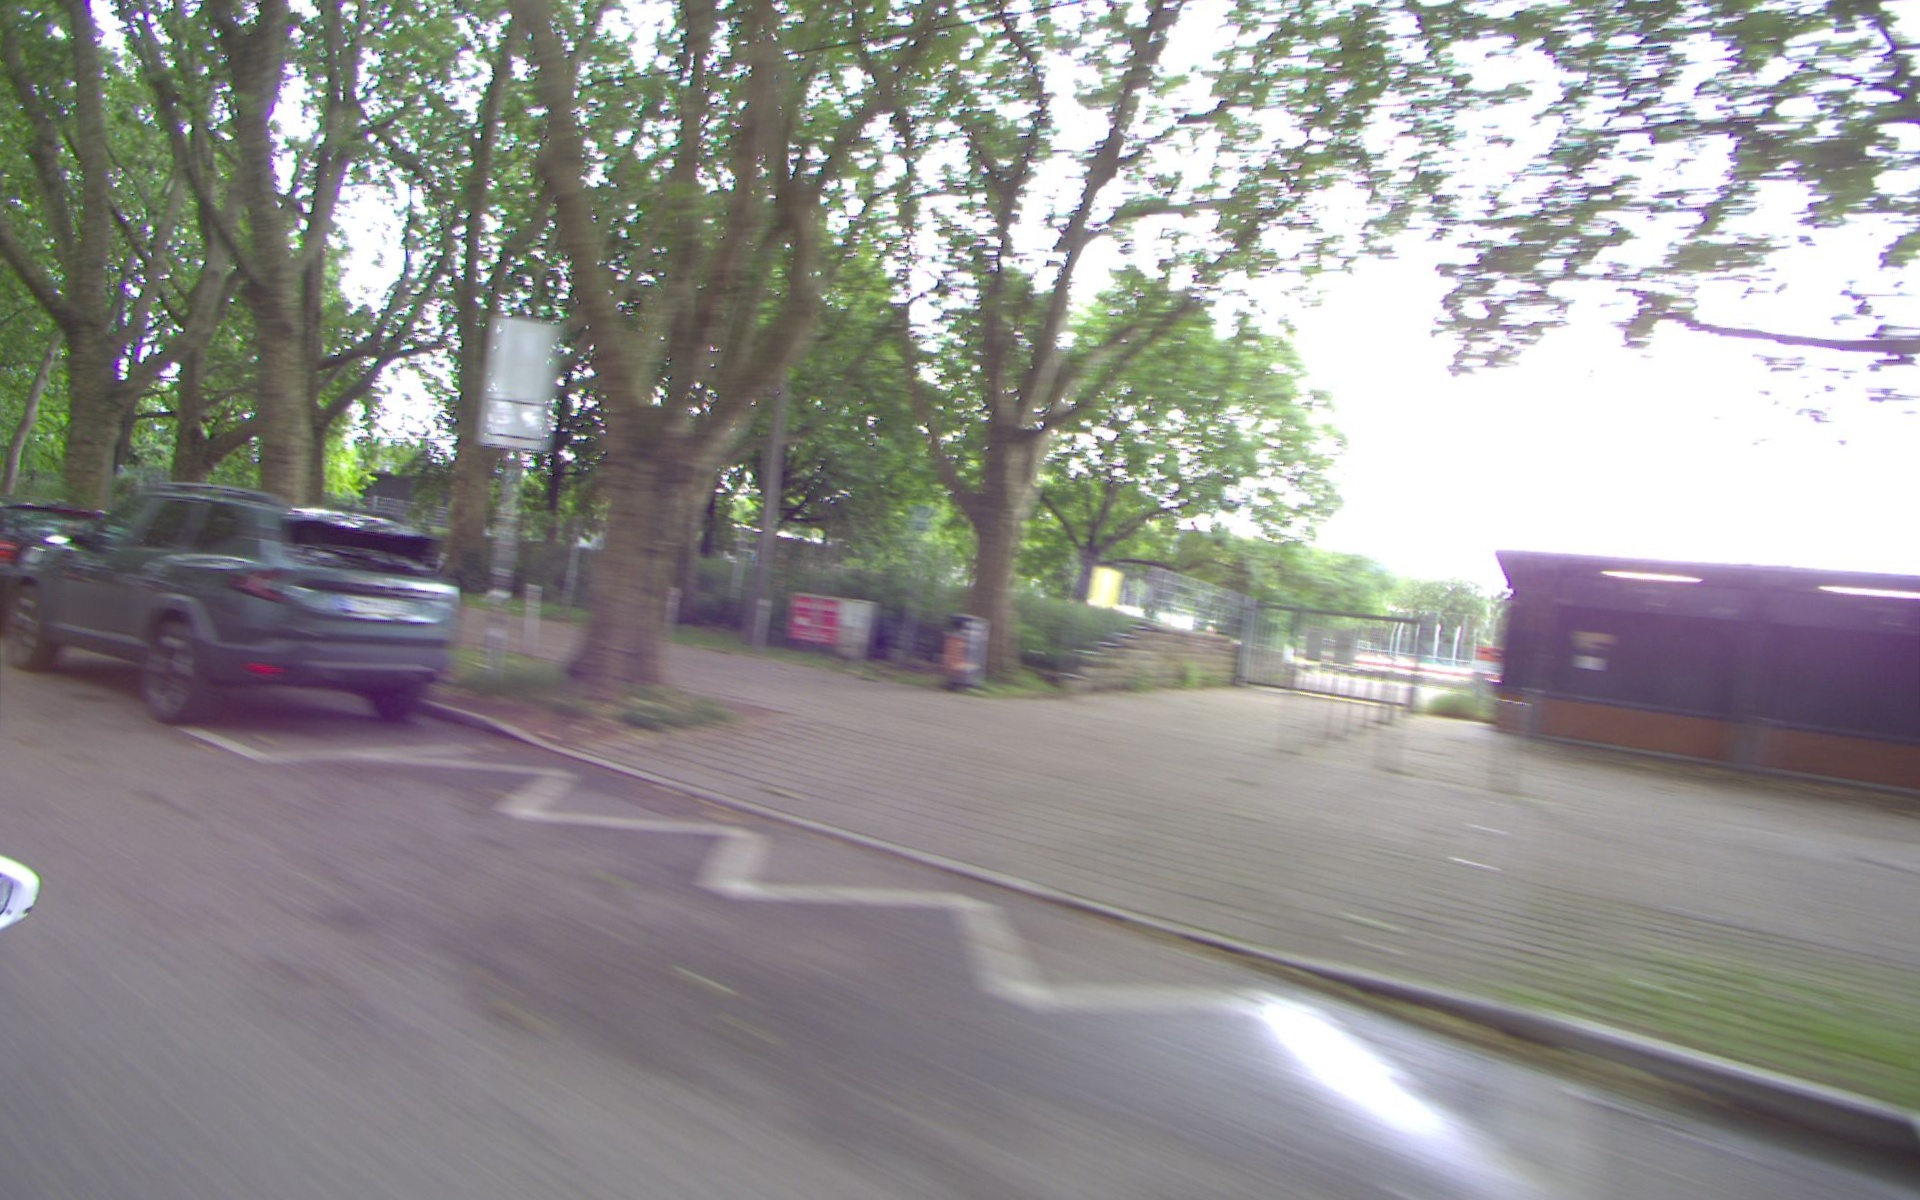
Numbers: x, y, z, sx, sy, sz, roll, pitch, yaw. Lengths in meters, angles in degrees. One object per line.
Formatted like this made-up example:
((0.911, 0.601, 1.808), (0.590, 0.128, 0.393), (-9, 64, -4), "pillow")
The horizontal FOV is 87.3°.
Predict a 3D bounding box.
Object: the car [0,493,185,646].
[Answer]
((-10.914, -0.494, 11.442), (4.287, 1.432, 1.711), (7, 0, 30), "car")

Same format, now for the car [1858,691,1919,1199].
((4.783, 1.327, 1.616), (4.560, 1.694, 1.780), (7, 0, 31), "car")

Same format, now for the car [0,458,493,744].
((-6.166, -0.078, 8.350), (4.552, 1.718, 1.711), (7, -1, 30), "car")
